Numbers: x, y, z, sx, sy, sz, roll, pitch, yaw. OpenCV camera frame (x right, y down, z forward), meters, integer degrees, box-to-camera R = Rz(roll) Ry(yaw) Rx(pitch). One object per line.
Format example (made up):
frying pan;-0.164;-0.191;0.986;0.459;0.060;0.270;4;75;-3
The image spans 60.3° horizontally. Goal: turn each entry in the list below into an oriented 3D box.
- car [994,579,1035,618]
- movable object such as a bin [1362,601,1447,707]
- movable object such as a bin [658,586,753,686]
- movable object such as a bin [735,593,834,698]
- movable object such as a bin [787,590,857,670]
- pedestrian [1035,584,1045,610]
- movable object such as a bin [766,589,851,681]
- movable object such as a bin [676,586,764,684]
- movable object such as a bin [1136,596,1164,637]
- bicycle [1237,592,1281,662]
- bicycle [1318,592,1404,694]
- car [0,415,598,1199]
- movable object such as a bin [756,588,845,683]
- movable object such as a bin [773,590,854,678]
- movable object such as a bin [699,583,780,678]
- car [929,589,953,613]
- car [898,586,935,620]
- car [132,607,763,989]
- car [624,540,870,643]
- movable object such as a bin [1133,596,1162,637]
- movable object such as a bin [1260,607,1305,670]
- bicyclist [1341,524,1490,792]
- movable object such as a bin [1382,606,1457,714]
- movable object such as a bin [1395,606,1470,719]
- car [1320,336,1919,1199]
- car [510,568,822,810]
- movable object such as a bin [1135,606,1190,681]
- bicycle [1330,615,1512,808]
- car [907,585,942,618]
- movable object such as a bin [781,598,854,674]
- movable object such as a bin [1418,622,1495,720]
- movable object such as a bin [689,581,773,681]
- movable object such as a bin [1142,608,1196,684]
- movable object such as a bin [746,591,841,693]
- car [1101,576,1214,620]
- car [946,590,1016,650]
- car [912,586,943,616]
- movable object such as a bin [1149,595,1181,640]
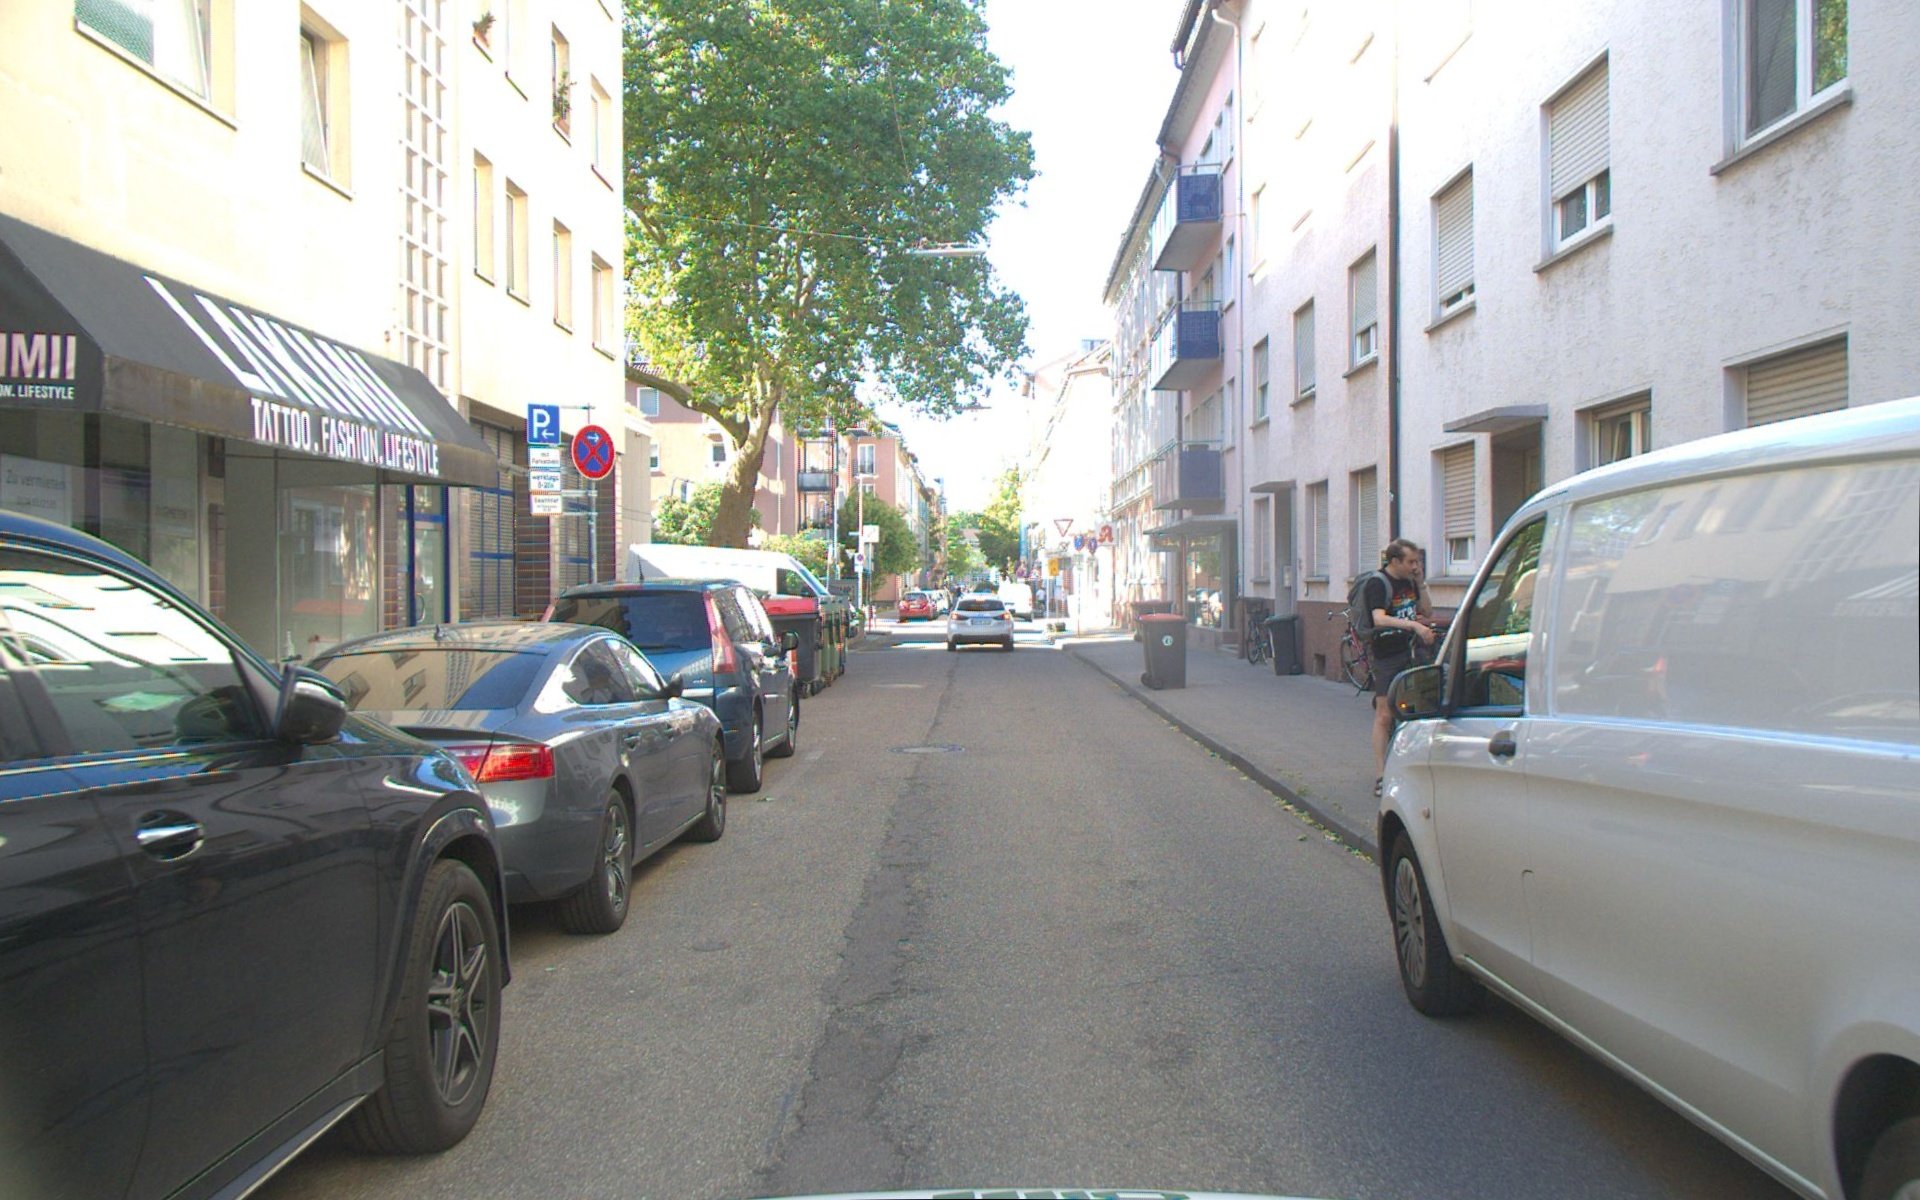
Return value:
car;2.835;-0.091;87.159;1.903;1.982;4.077;0;0;-2
movable object such as a bin;4.926;0.586;18.363;0.723;1.116;0.640;-3;-1;2
movable object such as a bin;-3.945;0.551;25.757;1.278;1.525;1.157;0;0;0
movable object such as a bin;-2.594;0.665;24.579;1.292;1.476;1.187;-2;0;0
movable object such as a bin;-2.587;0.559;31.093;1.274;1.476;1.117;0;0;-3
pedestrian;5.475;-0.181;113.555;0.604;1.764;0.560;-1;-1;0
movable object such as a bin;-2.537;0.578;27.833;1.315;1.525;1.018;0;0;0
movable object such as a bin;-3.882;0.556;26.834;1.275;1.549;1.018;0;0;0
movable object such as a bin;5.106;0.449;44.534;0.687;1.092;0.596;-1;-1;2
bicycle;5.187;0.451;28.775;0.444;1.154;1.920;-3;0;2
bicycle;5.102;0.514;21.156;0.526;1.190;2.076;-5;0;0
car;-2.257;0.644;3.153;1.896;1.766;5.142;-1;0;1
movable object such as a bin;-2.570;0.571;26.797;1.321;1.513;1.003;0;0;0
movable object such as a bin;-2.540;0.589;28.901;1.307;1.517;1.082;0;0;0
movable object such as a bin;-3.845;0.520;28.901;1.262;1.632;1.082;0;0;0
car;-1.342;0.072;116.216;1.540;1.613;3.611;-1;0;1
car;-2.175;0.139;83.999;1.733;1.616;3.726;-1;1;0
car;-2.319;0.793;8.953;1.807;1.441;4.818;-2;0;1
car;-6.028;-0.242;47.277;6.599;2.599;2.146;3;0;2
movable object such as a bin;5.115;0.444;45.166;0.730;1.105;0.635;-1;0;2
movable object such as a bin;5.066;0.602;26.036;0.585;0.968;0.682;-1;0;2
bicyclist;3.223;0.390;11.753;0.744;1.801;0.822;-3;1;-1
movable object such as a bin;4.933;0.640;17.768;0.643;1.124;0.593;-1;0;2
movable object such as a bin;4.912;0.640;17.206;0.615;1.142;0.569;-1;-1;2
car;2.579;0.444;4.427;1.943;1.916;5.600;-4;1;1
car;-2.328;0.625;14.336;1.746;1.696;4.671;-2;0;1
movable object such as a bin;3.071;0.656;25.087;0.752;1.105;0.693;-1;0;2
bicycle;3.222;0.735;11.760;0.650;1.156;1.988;-3;1;-1
car;-1.913;0.066;89.596;1.685;1.712;3.727;-1;0;1
movable object such as a bin;-2.572;0.647;29.993;1.215;1.345;1.046;0;0;0
movable object such as a bin;4.967;0.701;16.572;0.593;0.951;0.605;-1;0;2
movable object such as a bin;-3.842;0.508;27.836;1.268;1.649;1.018;0;0;0
movable object such as a bin;3.069;0.673;24.373;0.717;1.099;0.703;-1;0;2
movable object such as a bin;-2.575;0.645;25.752;1.306;1.510;1.093;-2;0;0
car;9.045;-0.078;75.764;4.793;1.962;1.998;0;-2;26
car;0.549;0.499;44.978;1.786;1.540;3.823;-1;0;0
car;-1.842;0.053;95.111;1.602;1.685;3.785;-1;0;1
movable object such as a bin;5.282;0.451;42.587;0.715;1.123;0.693;-1;0;-1
